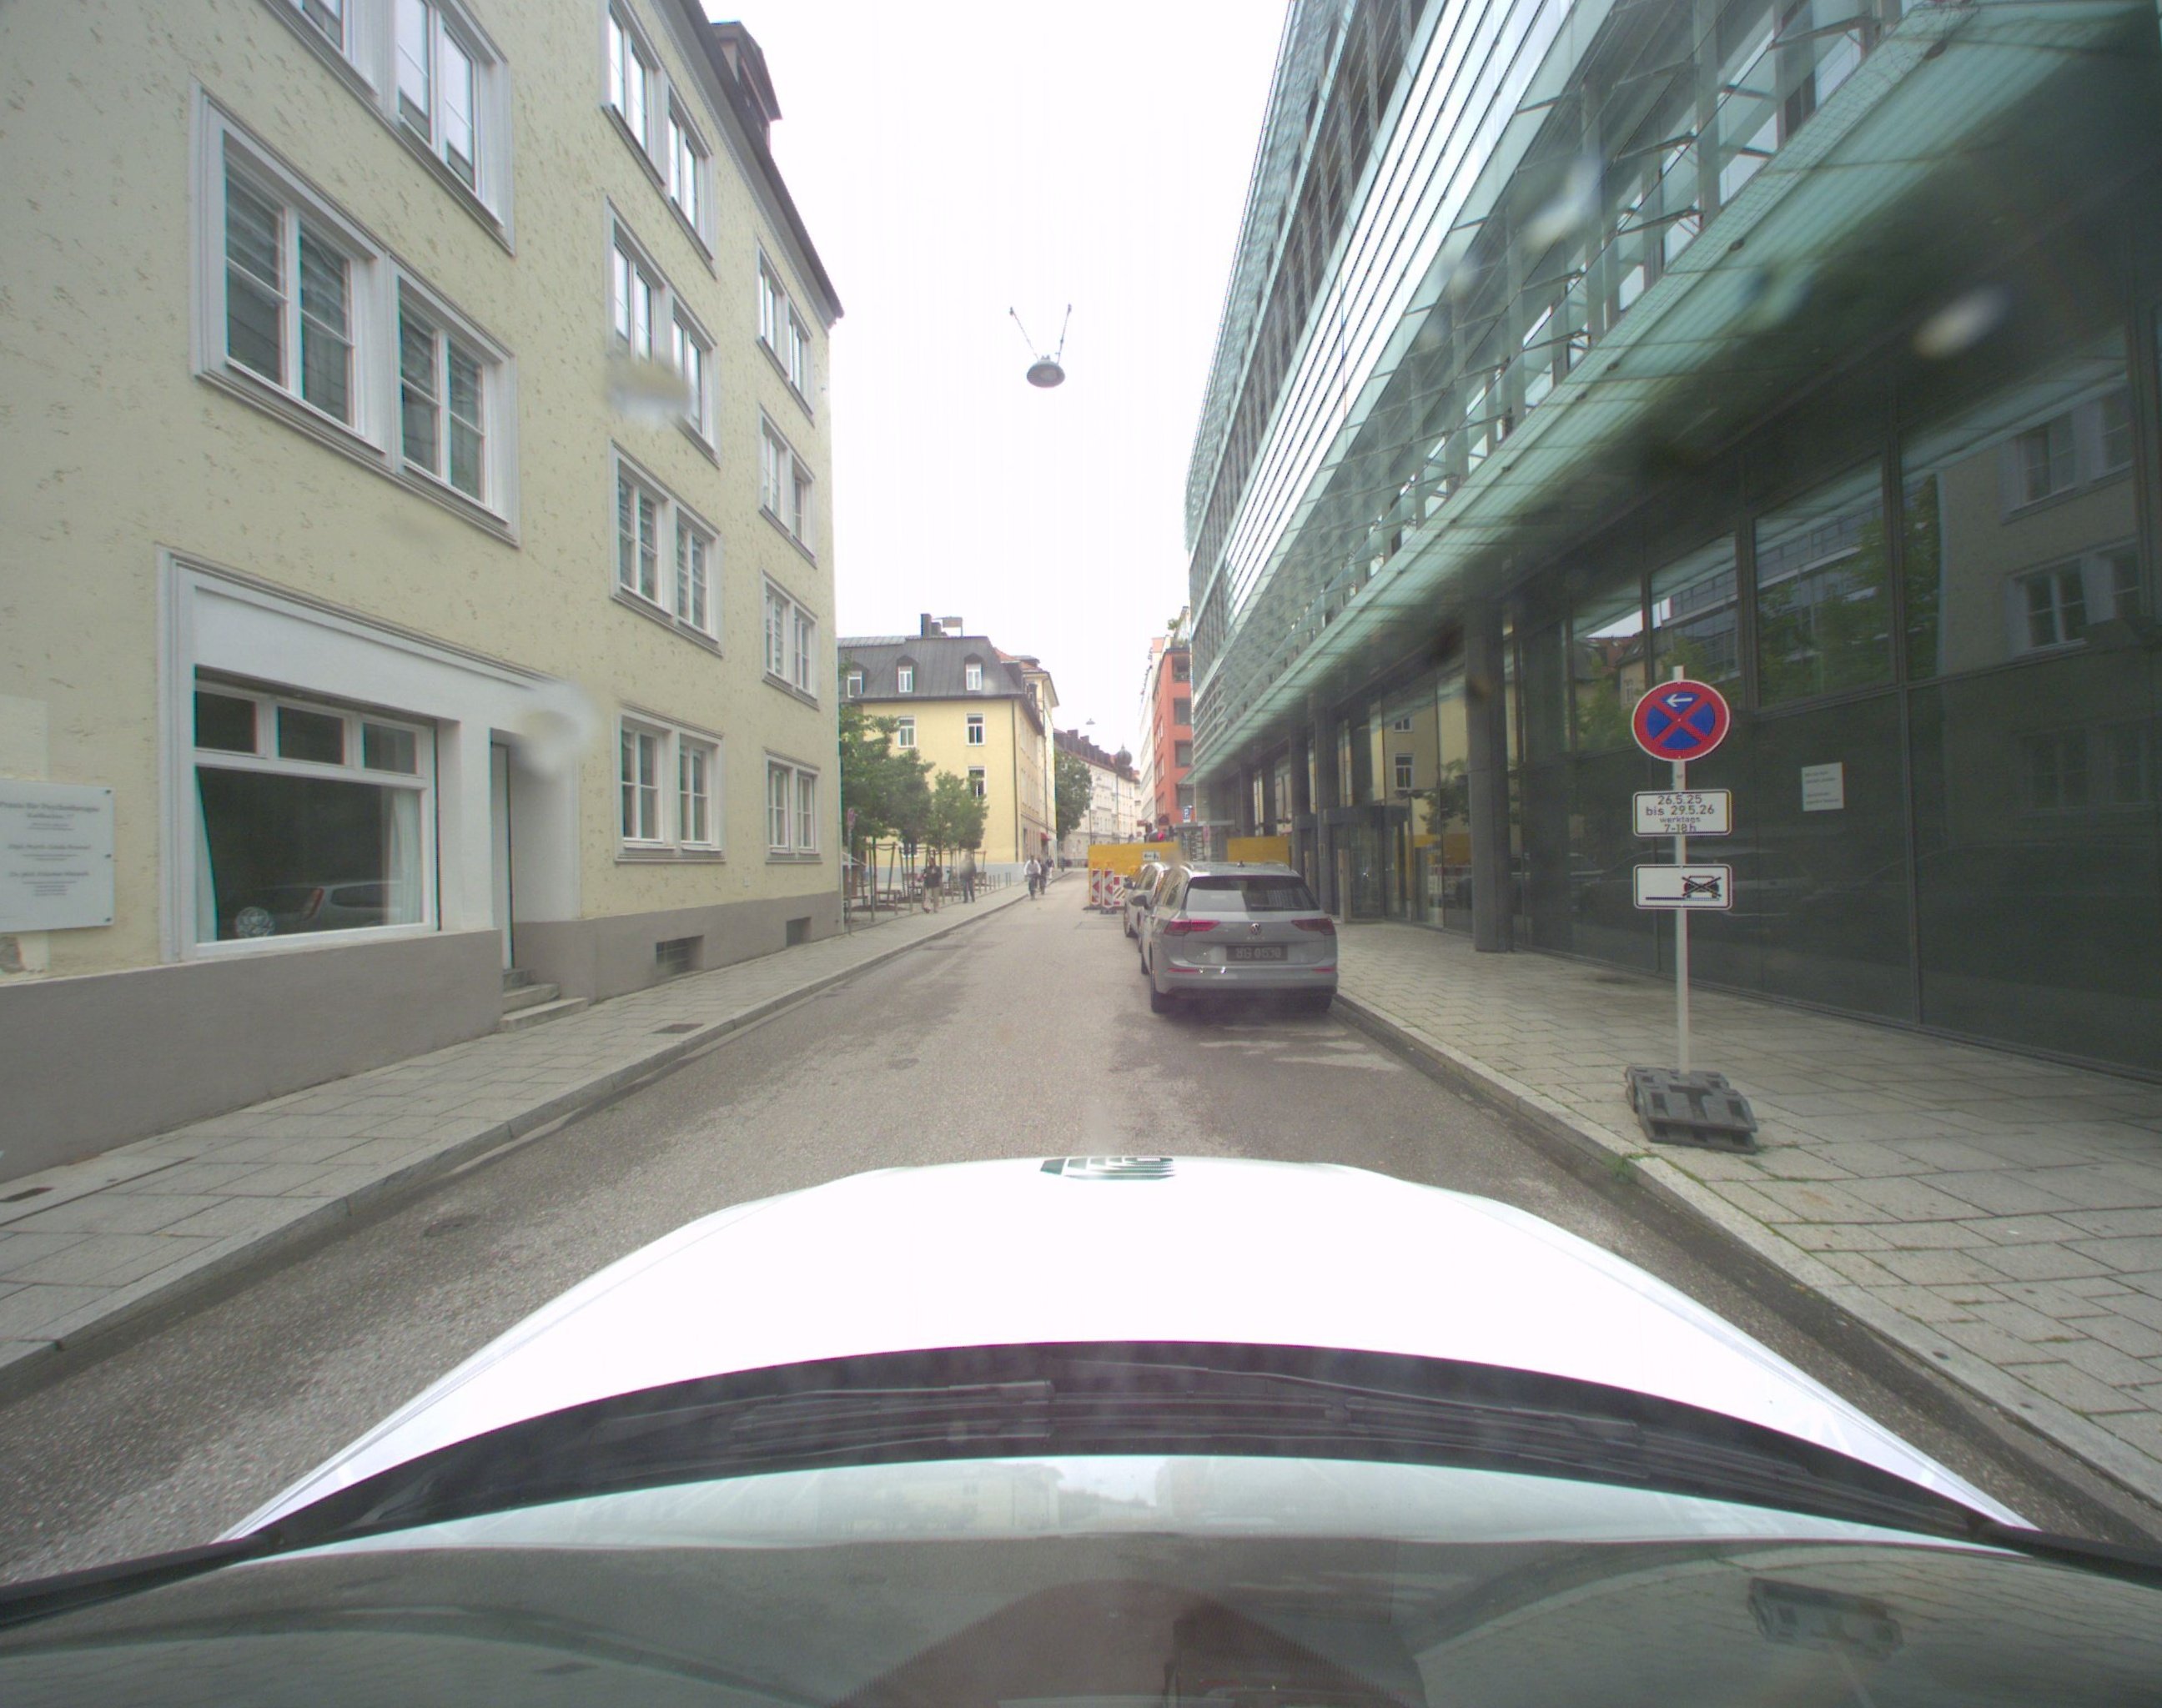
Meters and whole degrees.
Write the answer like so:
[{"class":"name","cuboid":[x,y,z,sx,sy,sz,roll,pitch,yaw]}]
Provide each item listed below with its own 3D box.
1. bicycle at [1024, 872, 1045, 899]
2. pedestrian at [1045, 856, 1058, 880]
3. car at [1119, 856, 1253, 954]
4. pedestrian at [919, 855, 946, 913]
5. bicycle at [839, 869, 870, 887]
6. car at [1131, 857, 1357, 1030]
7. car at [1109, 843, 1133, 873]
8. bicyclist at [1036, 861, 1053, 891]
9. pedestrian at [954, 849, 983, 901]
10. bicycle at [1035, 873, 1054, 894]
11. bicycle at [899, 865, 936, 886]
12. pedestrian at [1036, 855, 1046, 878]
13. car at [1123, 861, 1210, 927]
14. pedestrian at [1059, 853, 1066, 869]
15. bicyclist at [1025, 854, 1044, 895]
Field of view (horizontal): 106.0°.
[{"class":"bicycle","cuboid":[-1.918,1.295,33.923,0.659,1.039,2.005,-2,0,1]},{"class":"pedestrian","cuboid":[-2.069,0.972,57.727,0.836,1.700,0.803,-1,-1,1]},{"class":"car","cuboid":[1.696,0.795,14.432,1.703,1.467,4.234,0,-1,-2]},{"class":"pedestrian","cuboid":[-4.344,0.864,23.858,0.645,1.676,0.724,-1,-1,0]},{"class":"bicycle","cuboid":[-13.529,1.433,48.569,1.648,1.069,0.598,-1,-1,5]},{"class":"car","cuboid":[1.529,0.780,9.138,1.702,1.432,4.330,-2,-1,1]},{"class":"car","cuboid":[3.481,0.333,71.718,1.987,2.537,4.975,-1,0,1]},{"class":"bicyclist","cuboid":[-1.718,1.012,38.219,0.705,1.371,0.813,-2,-1,1]},{"class":"pedestrian","cuboid":[-4.148,0.756,30.081,0.865,1.881,1.135,-1,-1,0]},{"class":"bicycle","cuboid":[-1.701,1.374,38.268,0.705,0.905,1.810,-2,0,1]},{"class":"bicycle","cuboid":[-9.790,1.268,48.791,2.032,1.198,0.571,-1,0,8]},{"class":"pedestrian","cuboid":[-2.845,0.900,57.926,0.668,1.648,0.761,-1,-1,1]},{"class":"car","cuboid":[1.937,0.876,19.589,1.702,1.414,4.510,0,-1,1]},{"class":"pedestrian","cuboid":[-1.891,0.763,84.626,0.632,1.675,0.518,-1,0,1]},{"class":"bicyclist","cuboid":[-1.924,0.838,33.859,0.657,1.643,0.895,-2,-1,1]}]
